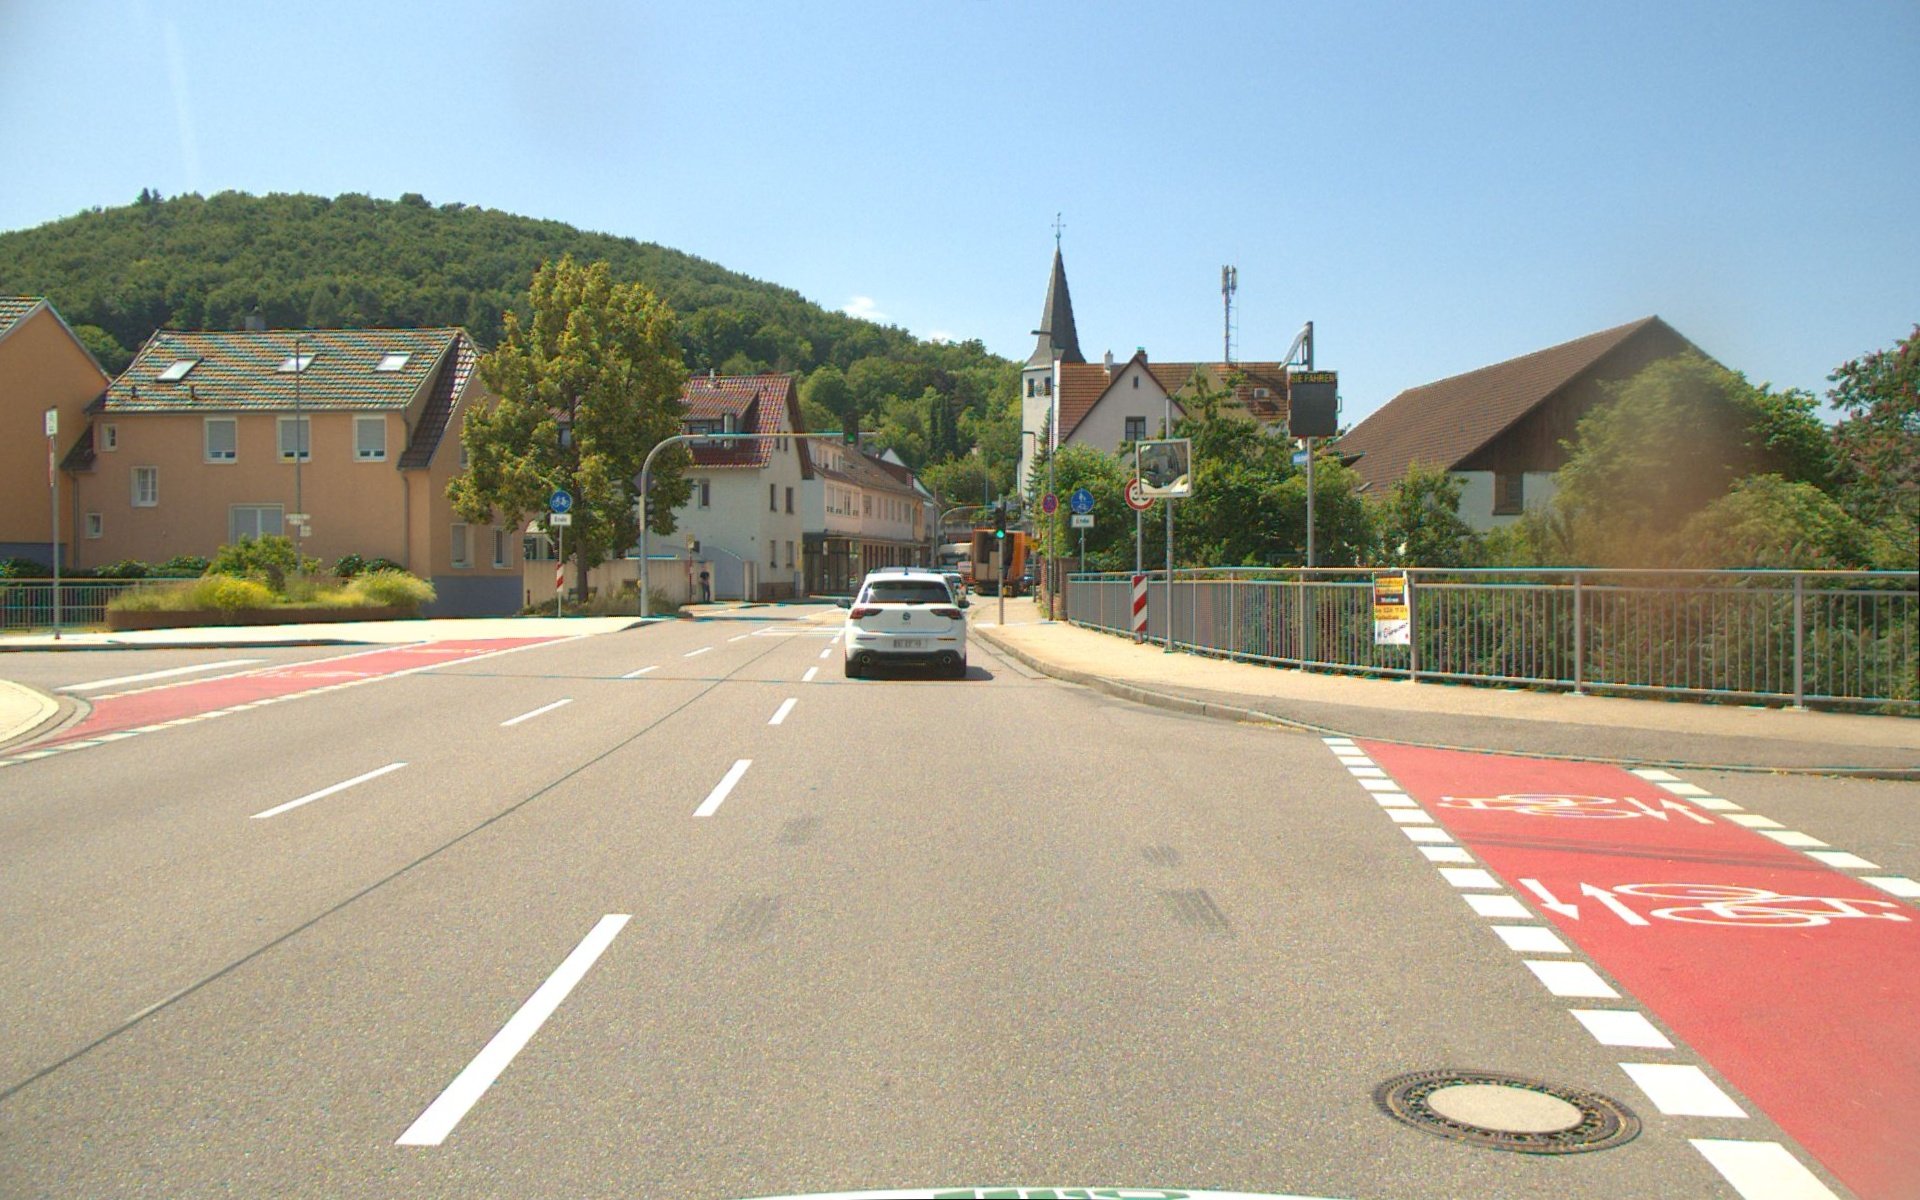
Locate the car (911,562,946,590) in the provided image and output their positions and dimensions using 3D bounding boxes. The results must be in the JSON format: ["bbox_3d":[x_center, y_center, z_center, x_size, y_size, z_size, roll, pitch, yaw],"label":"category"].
[{"bbox_3d":[-1.774,-1.357,94.646,1.777,1.545,4.001,-1,0,1],"label":"car"}]

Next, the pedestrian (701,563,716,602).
[{"bbox_3d":[-11.515,-0.796,75.679,0.425,1.795,0.557,0,1,20],"label":"pedestrian"}]

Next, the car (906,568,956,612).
[{"bbox_3d":[-1.134,-0.409,65.534,1.777,1.657,4.001,-1,0,1],"label":"car"}]

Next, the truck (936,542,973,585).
[{"bbox_3d":[-0.392,-2.849,131.717,2.449,3.292,6.043,-1,0,4],"label":"truck"}]

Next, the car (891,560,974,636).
[{"bbox_3d":[-0.600,-0.063,39.055,1.777,1.657,4.001,-1,0,1],"label":"car"}]

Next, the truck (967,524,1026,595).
[{"bbox_3d":[2.399,-2.468,105.278,3.296,4.242,9.524,-1,0,4],"label":"truck"}]

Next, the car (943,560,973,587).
[{"bbox_3d":[-0.103,-1.800,114.099,1.952,1.735,4.313,-1,0,1],"label":"car"}]

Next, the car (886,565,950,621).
[{"bbox_3d":[-1.272,-0.228,51.555,1.777,1.657,4.001,-1,0,1],"label":"car"}]

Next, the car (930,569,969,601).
[{"bbox_3d":[-0.499,-0.731,83.206,1.777,1.545,4.001,-1,0,1],"label":"car"}]

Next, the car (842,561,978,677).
[{"bbox_3d":[-0.658,0.240,24.442,1.777,1.545,4.001,1,0,1],"label":"car"}]

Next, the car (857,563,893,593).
[{"bbox_3d":[-4.939,-1.255,96.504,1.777,1.678,4.001,1,0,1],"label":"car"}]

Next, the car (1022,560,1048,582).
[{"bbox_3d":[5.441,-2.098,120.457,1.777,1.545,4.001,-1,0,1],"label":"car"}]
